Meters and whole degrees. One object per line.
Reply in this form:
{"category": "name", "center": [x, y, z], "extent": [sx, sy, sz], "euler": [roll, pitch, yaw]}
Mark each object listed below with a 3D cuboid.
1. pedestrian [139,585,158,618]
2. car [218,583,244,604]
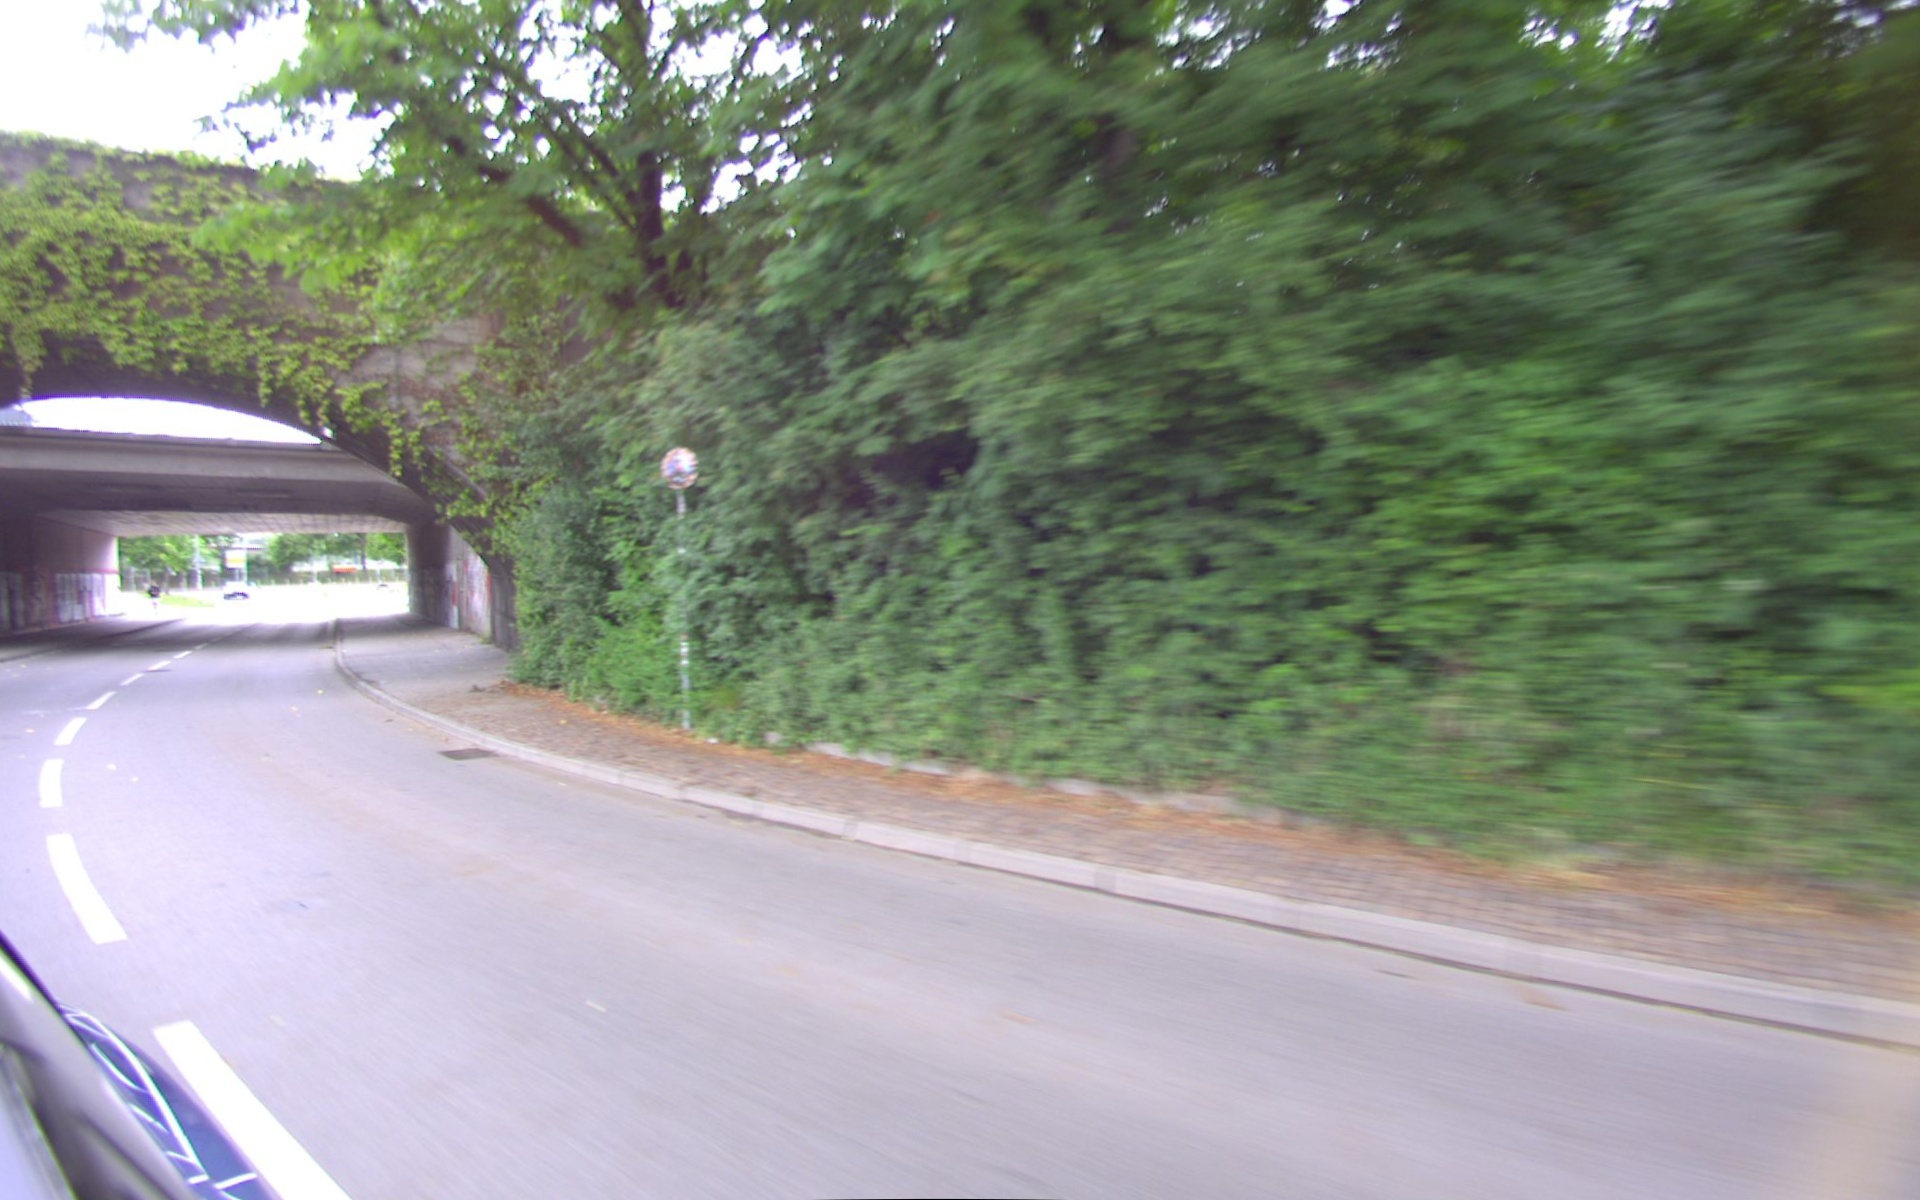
{"category": "pedestrian", "center": [-47.244, 0.091, 58.922], "extent": [0.809, 1.894, 1.183], "euler": [1, 0, -38]}
{"category": "car", "center": [-63.691, -0.596, 88.435], "extent": [1.778, 1.622, 4.187], "euler": [0, 3, -35]}
